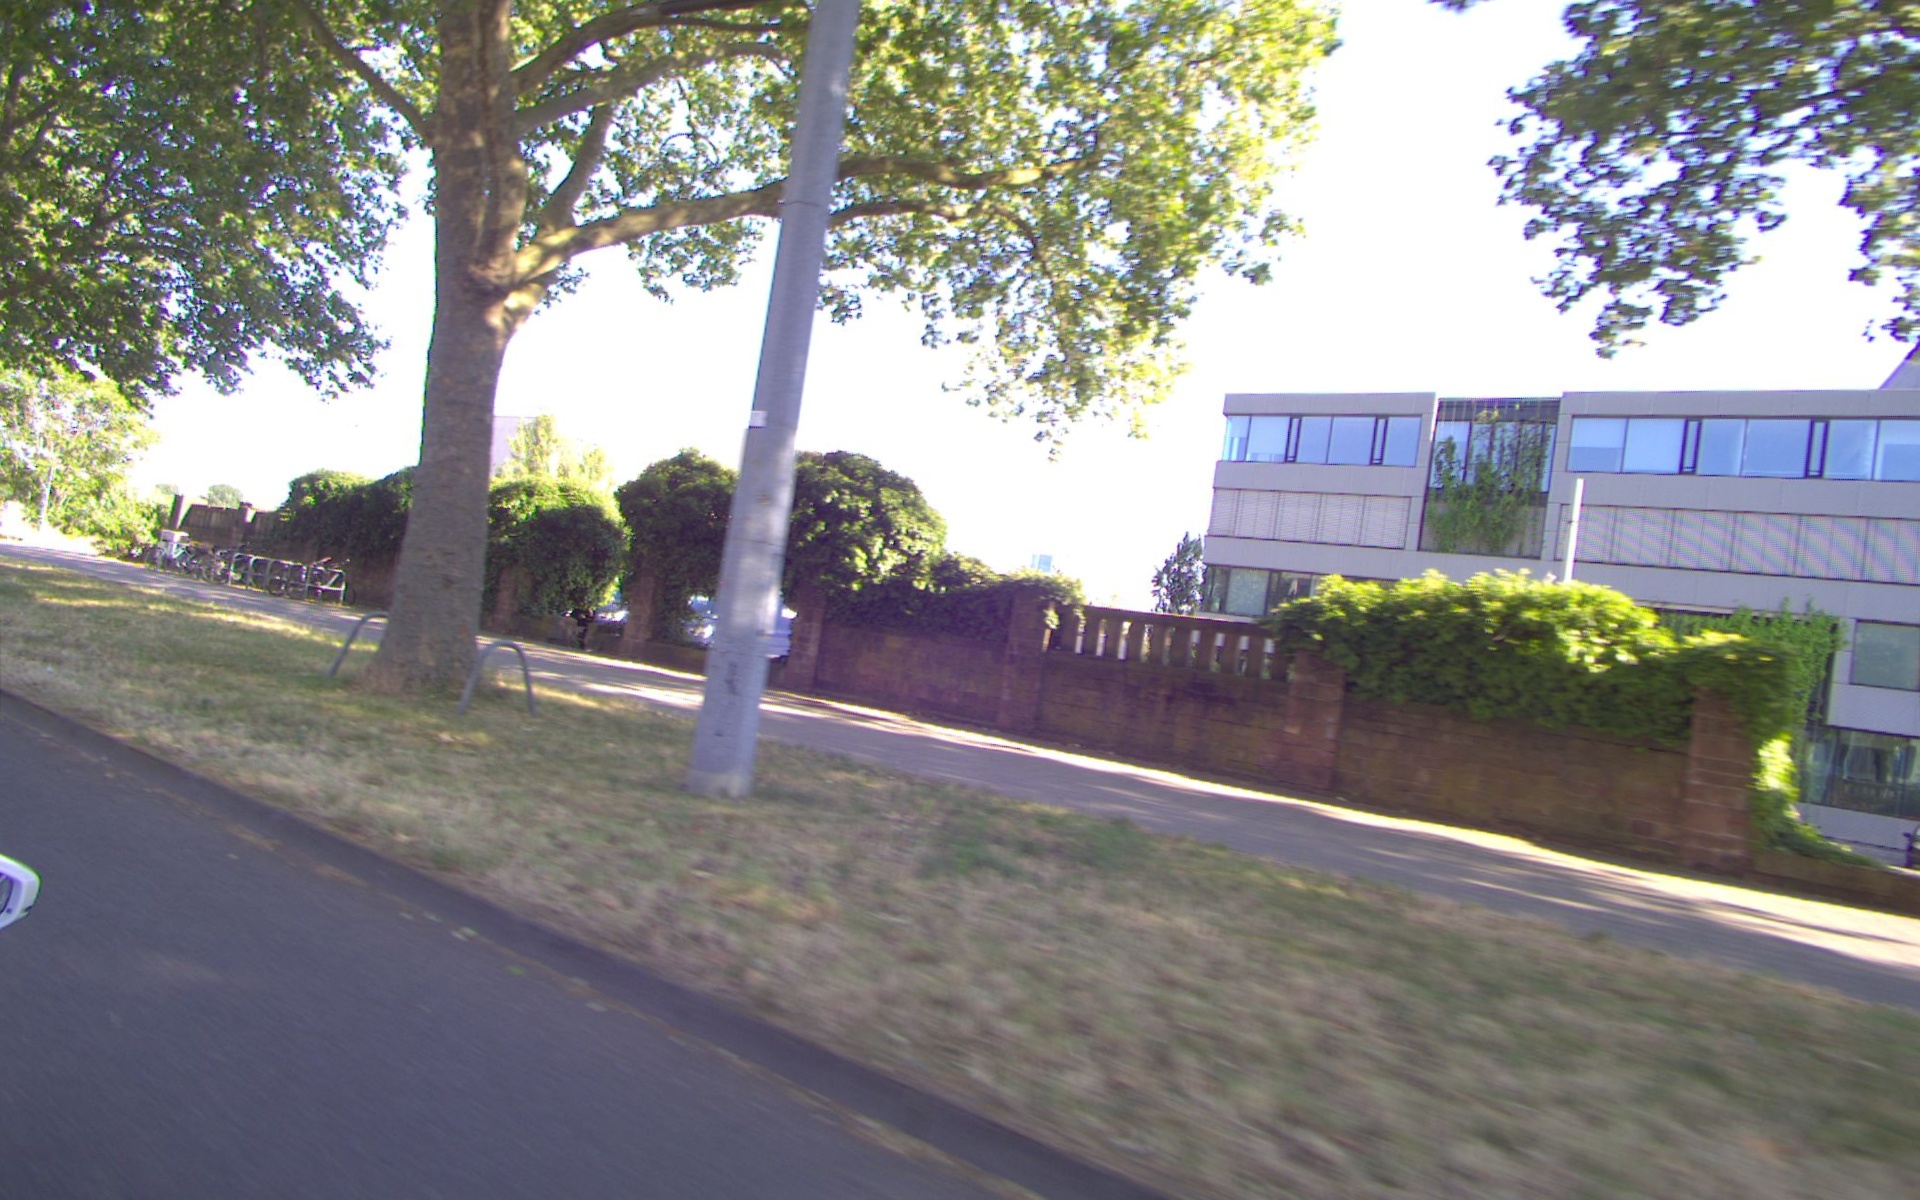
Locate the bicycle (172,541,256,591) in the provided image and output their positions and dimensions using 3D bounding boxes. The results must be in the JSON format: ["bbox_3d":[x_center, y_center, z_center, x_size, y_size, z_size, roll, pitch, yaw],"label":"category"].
[{"bbox_3d":[-21.060,-0.951,28.426,0.432,1.133,1.777,7,-2,31],"label":"bicycle"}]

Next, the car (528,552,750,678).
[{"bbox_3d":[-8.420,0.521,27.061,1.967,2.516,5.479,7,-4,31],"label":"car"}]

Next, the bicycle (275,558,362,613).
[{"bbox_3d":[-15.935,-0.347,25.022,0.432,1.133,1.691,7,-2,31],"label":"bicycle"}]

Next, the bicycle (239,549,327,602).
[{"bbox_3d":[-17.554,-0.612,26.144,0.432,1.133,1.777,7,-2,31],"label":"bicycle"}]

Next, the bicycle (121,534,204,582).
[{"bbox_3d":[-23.145,-1.214,29.231,0.431,1.133,1.779,7,-2,25],"label":"bicycle"}]

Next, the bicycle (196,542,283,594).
[{"bbox_3d":[-19.404,-0.839,27.117,0.432,1.133,1.777,7,-2,31],"label":"bicycle"}]

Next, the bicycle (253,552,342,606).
[{"bbox_3d":[-16.809,-0.522,25.580,0.432,1.133,1.777,7,-2,31],"label":"bicycle"}]

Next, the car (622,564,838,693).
[{"bbox_3d":[-5.769,0.862,26.119,1.967,2.516,5.479,7,-4,31],"label":"car"}]

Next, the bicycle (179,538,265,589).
[{"bbox_3d":[-20.296,-0.979,27.690,0.432,1.133,1.777,7,-2,31],"label":"bicycle"}]

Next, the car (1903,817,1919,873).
[{"bbox_3d":[30.097,7.571,30.511,3.692,1.581,1.632,11,-4,-39],"label":"car"}]
